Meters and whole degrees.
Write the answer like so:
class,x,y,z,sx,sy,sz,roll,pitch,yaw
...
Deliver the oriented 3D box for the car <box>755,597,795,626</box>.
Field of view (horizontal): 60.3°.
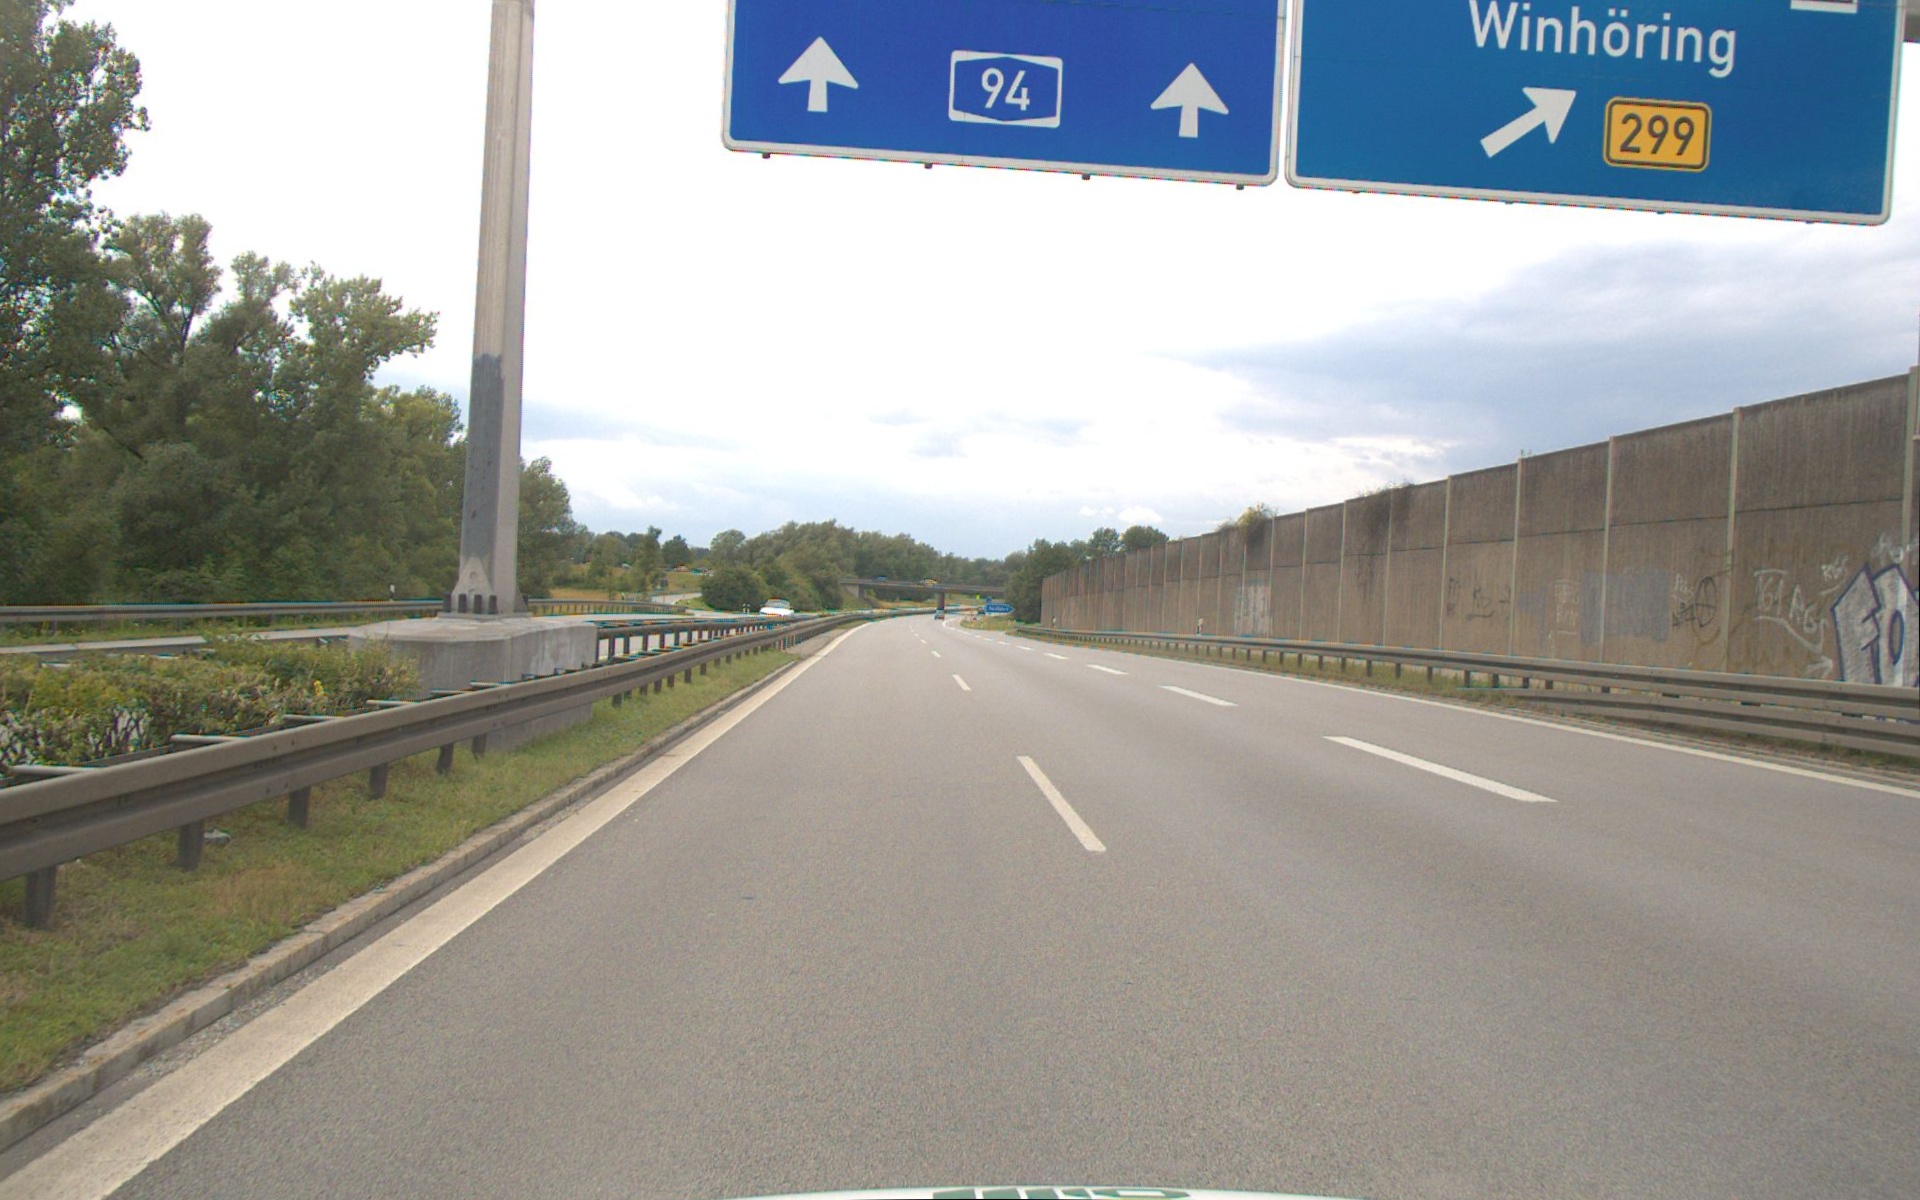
class,x,y,z,sx,sy,sz,roll,pitch,yaw
car,-11.317,0.675,101.284,1.953,1.643,5.027,2,0,-1
